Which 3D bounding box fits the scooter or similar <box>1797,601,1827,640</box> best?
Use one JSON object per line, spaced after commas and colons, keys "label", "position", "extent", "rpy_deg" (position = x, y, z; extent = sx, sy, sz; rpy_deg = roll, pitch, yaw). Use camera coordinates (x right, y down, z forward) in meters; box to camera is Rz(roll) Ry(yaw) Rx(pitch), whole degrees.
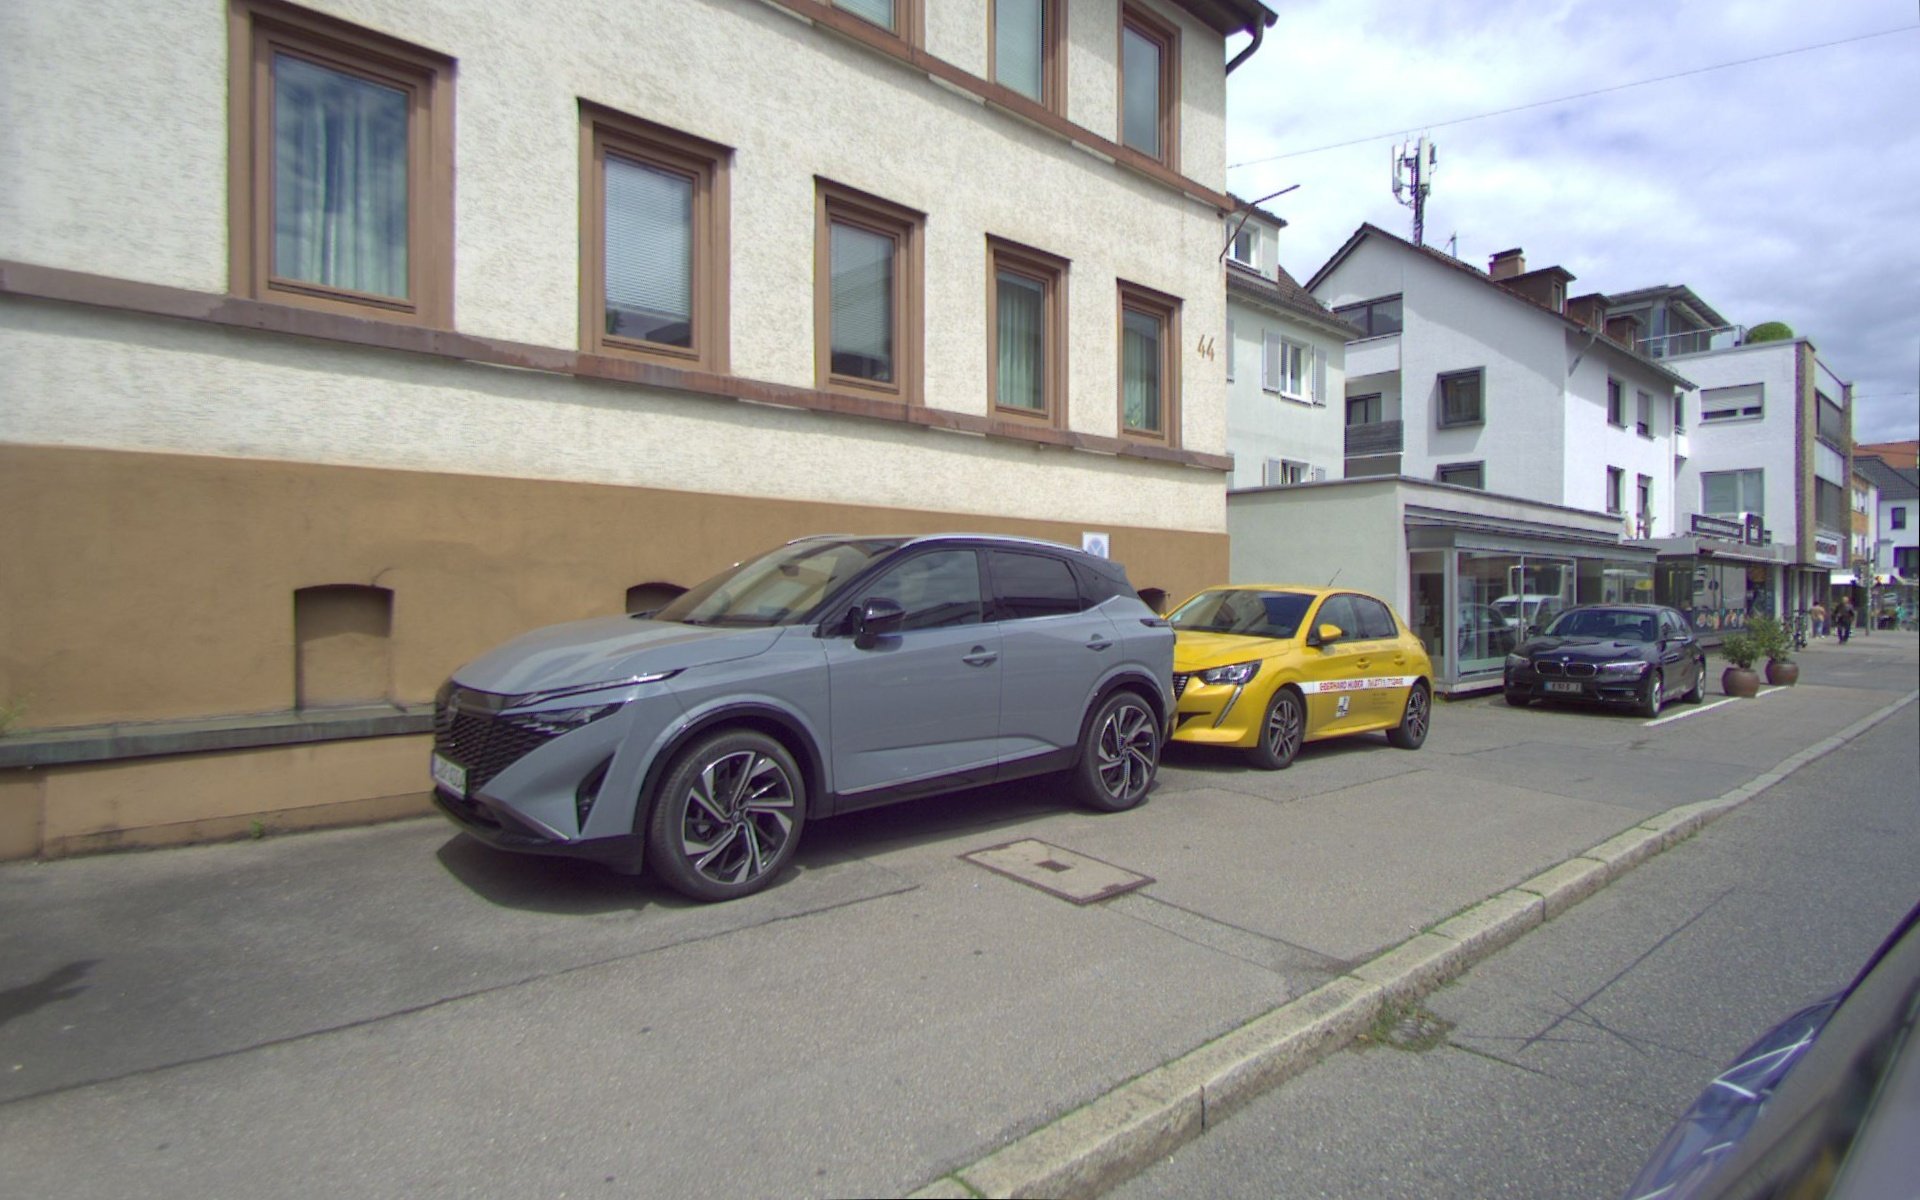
{"label": "scooter or similar", "position": [28.962, 0.686, 34.402], "extent": [0.685, 1.283, 1.170], "rpy_deg": [1, 1, 36]}

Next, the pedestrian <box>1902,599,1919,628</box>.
{"label": "pedestrian", "position": [50.863, 0.723, 53.966], "extent": [0.804, 1.545, 0.779], "rpy_deg": [1, 0, -39]}

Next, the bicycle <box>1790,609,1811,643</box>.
{"label": "bicycle", "position": [27.027, 0.815, 32.558], "extent": [0.474, 1.041, 1.613], "rpy_deg": [1, 0, 39]}

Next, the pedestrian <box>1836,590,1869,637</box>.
{"label": "pedestrian", "position": [32.512, 0.487, 36.851], "extent": [0.793, 1.691, 0.796], "rpy_deg": [1, 1, -42]}

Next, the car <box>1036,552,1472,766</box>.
{"label": "car", "position": [2.810, 0.468, 9.086], "extent": [4.234, 1.466, 1.879], "rpy_deg": [3, -1, -44]}

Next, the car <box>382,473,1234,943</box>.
{"label": "car", "position": [-0.516, 0.356, 5.740], "extent": [4.507, 1.632, 1.863], "rpy_deg": [0, 1, -43]}

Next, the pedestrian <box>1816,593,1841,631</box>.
{"label": "pedestrian", "position": [35.197, 0.484, 40.994], "extent": [0.707, 1.518, 0.680], "rpy_deg": [0, 0, -42]}

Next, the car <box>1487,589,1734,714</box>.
{"label": "car", "position": [9.321, 0.609, 14.335], "extent": [4.460, 1.466, 1.970], "rpy_deg": [0, 1, -44]}
